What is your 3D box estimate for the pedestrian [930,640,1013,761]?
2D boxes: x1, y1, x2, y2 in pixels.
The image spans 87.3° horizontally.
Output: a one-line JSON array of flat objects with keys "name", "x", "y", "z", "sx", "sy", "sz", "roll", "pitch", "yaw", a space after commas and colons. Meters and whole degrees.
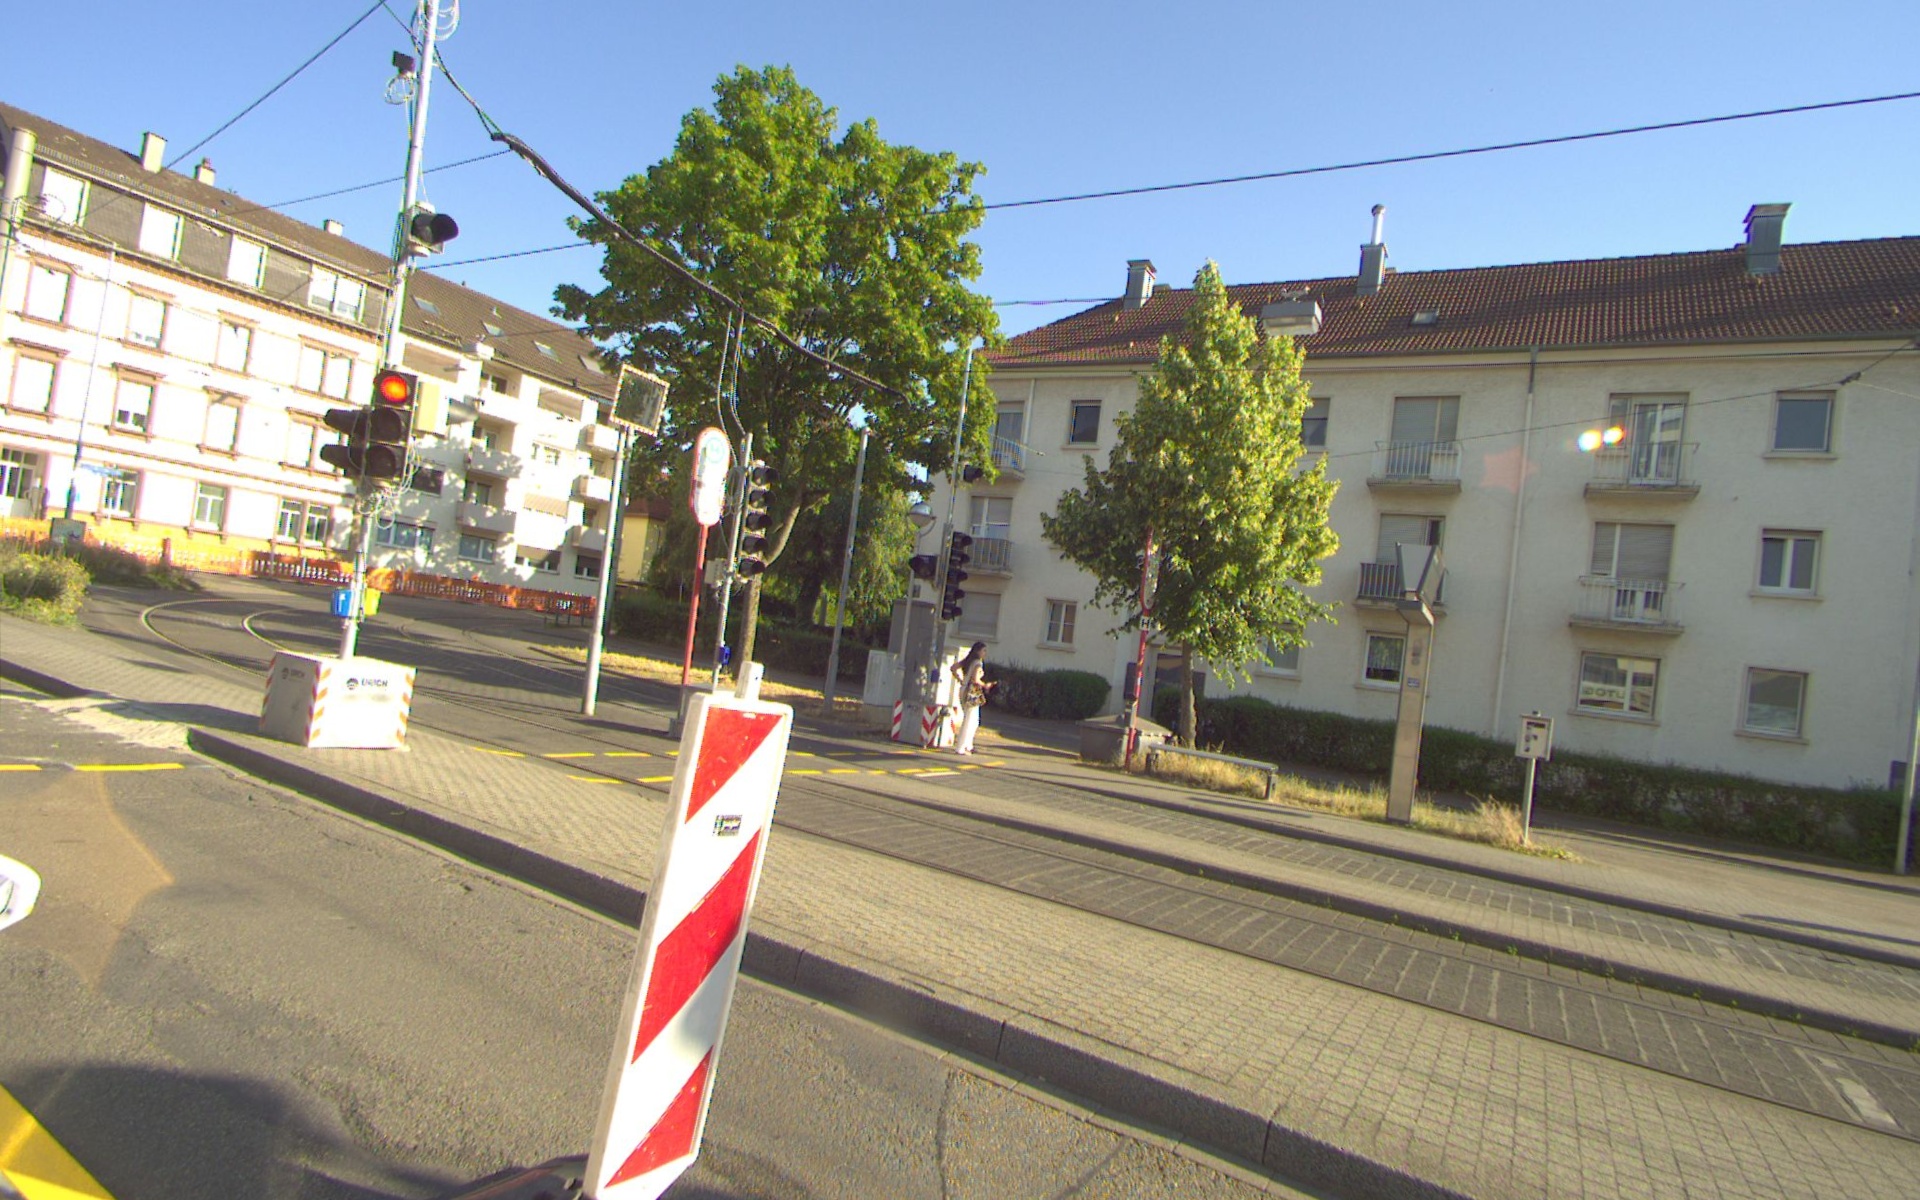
[{"name": "pedestrian", "x": 0.167, "y": 1.476, "z": 14.871, "sx": 0.781, "sy": 1.639, "sz": 0.822, "roll": 8, "pitch": -1, "yaw": -23}]
